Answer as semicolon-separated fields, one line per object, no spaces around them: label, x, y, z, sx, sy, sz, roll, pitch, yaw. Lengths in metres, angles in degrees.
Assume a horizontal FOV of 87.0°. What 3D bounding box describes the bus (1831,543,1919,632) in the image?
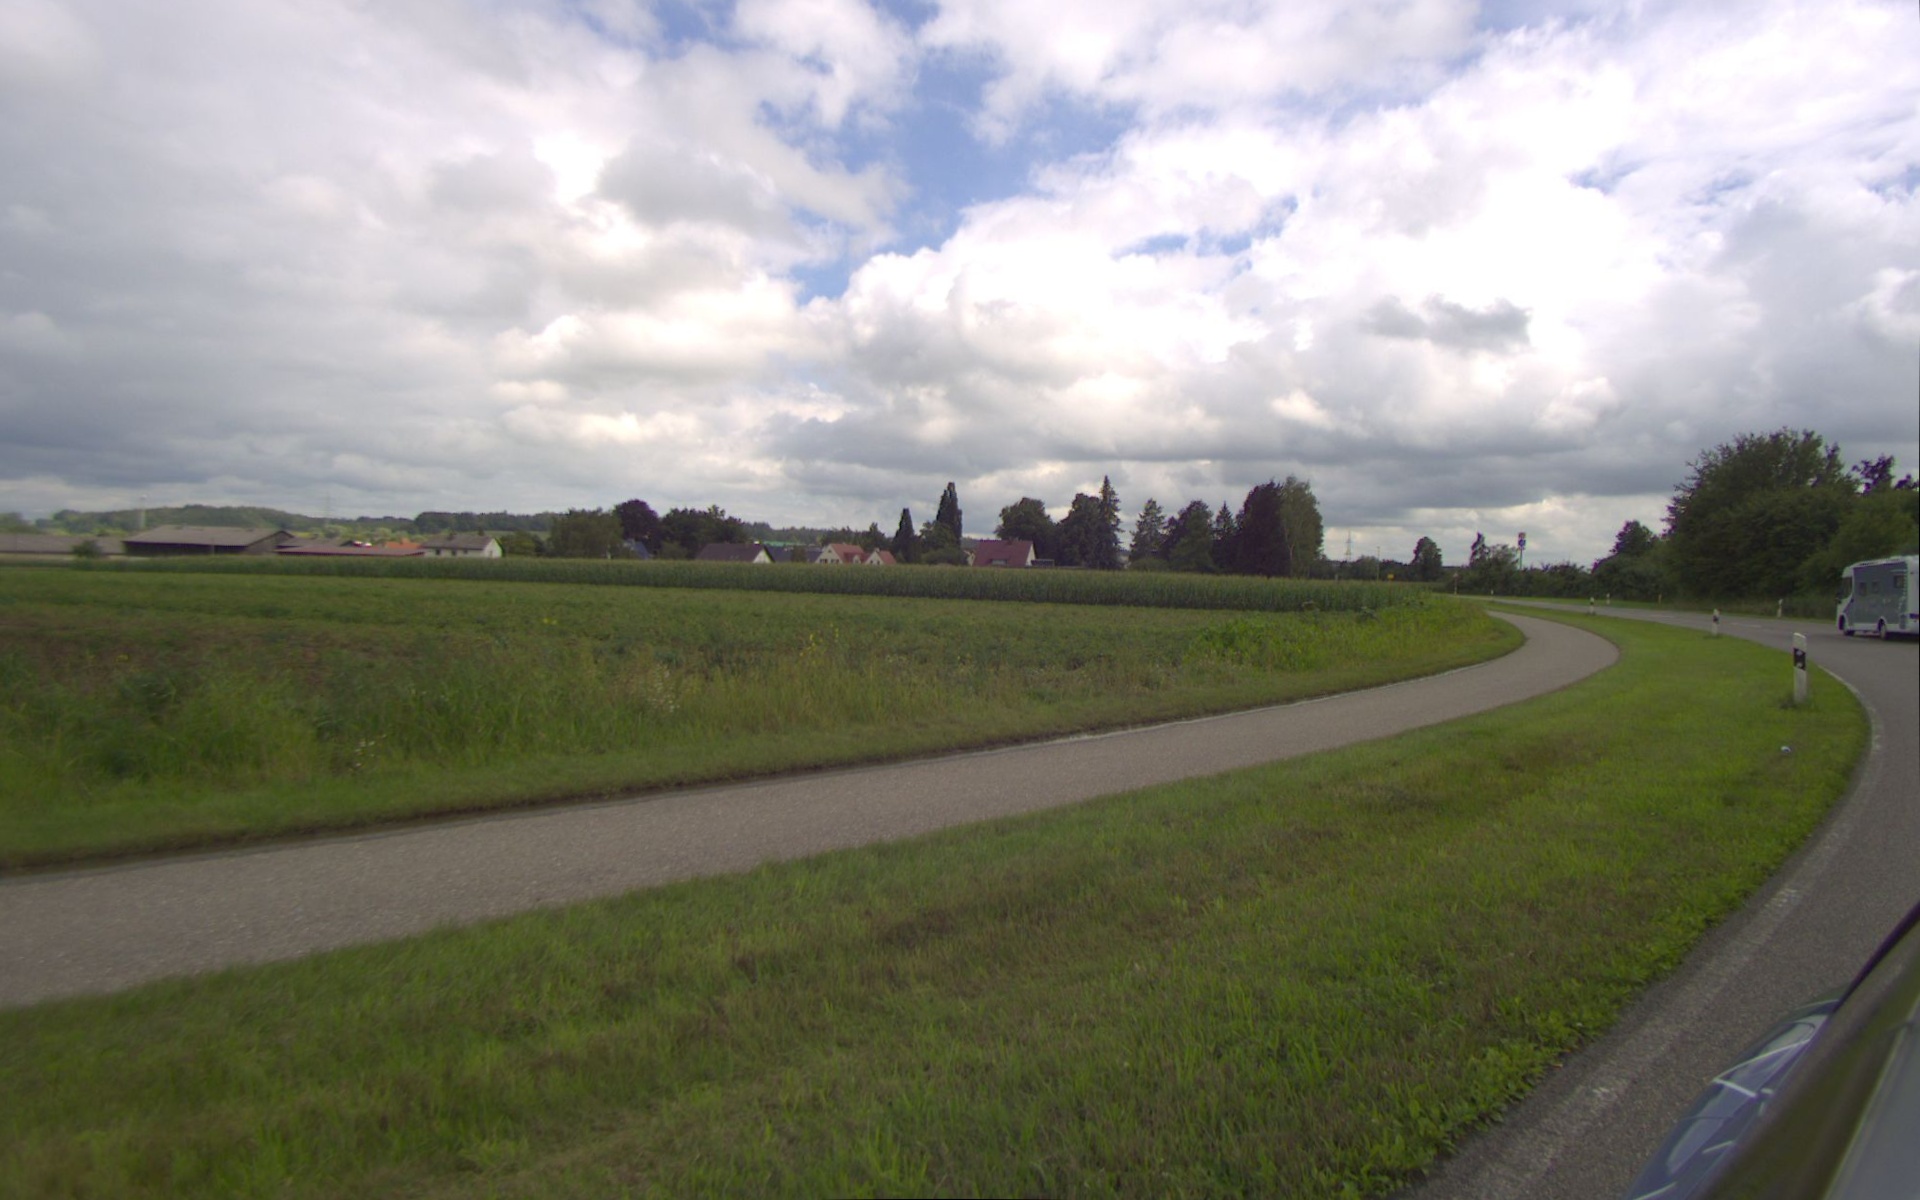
bus;32.374;-0.424;34.116;2.458;2.745;8.355;1;2;26
